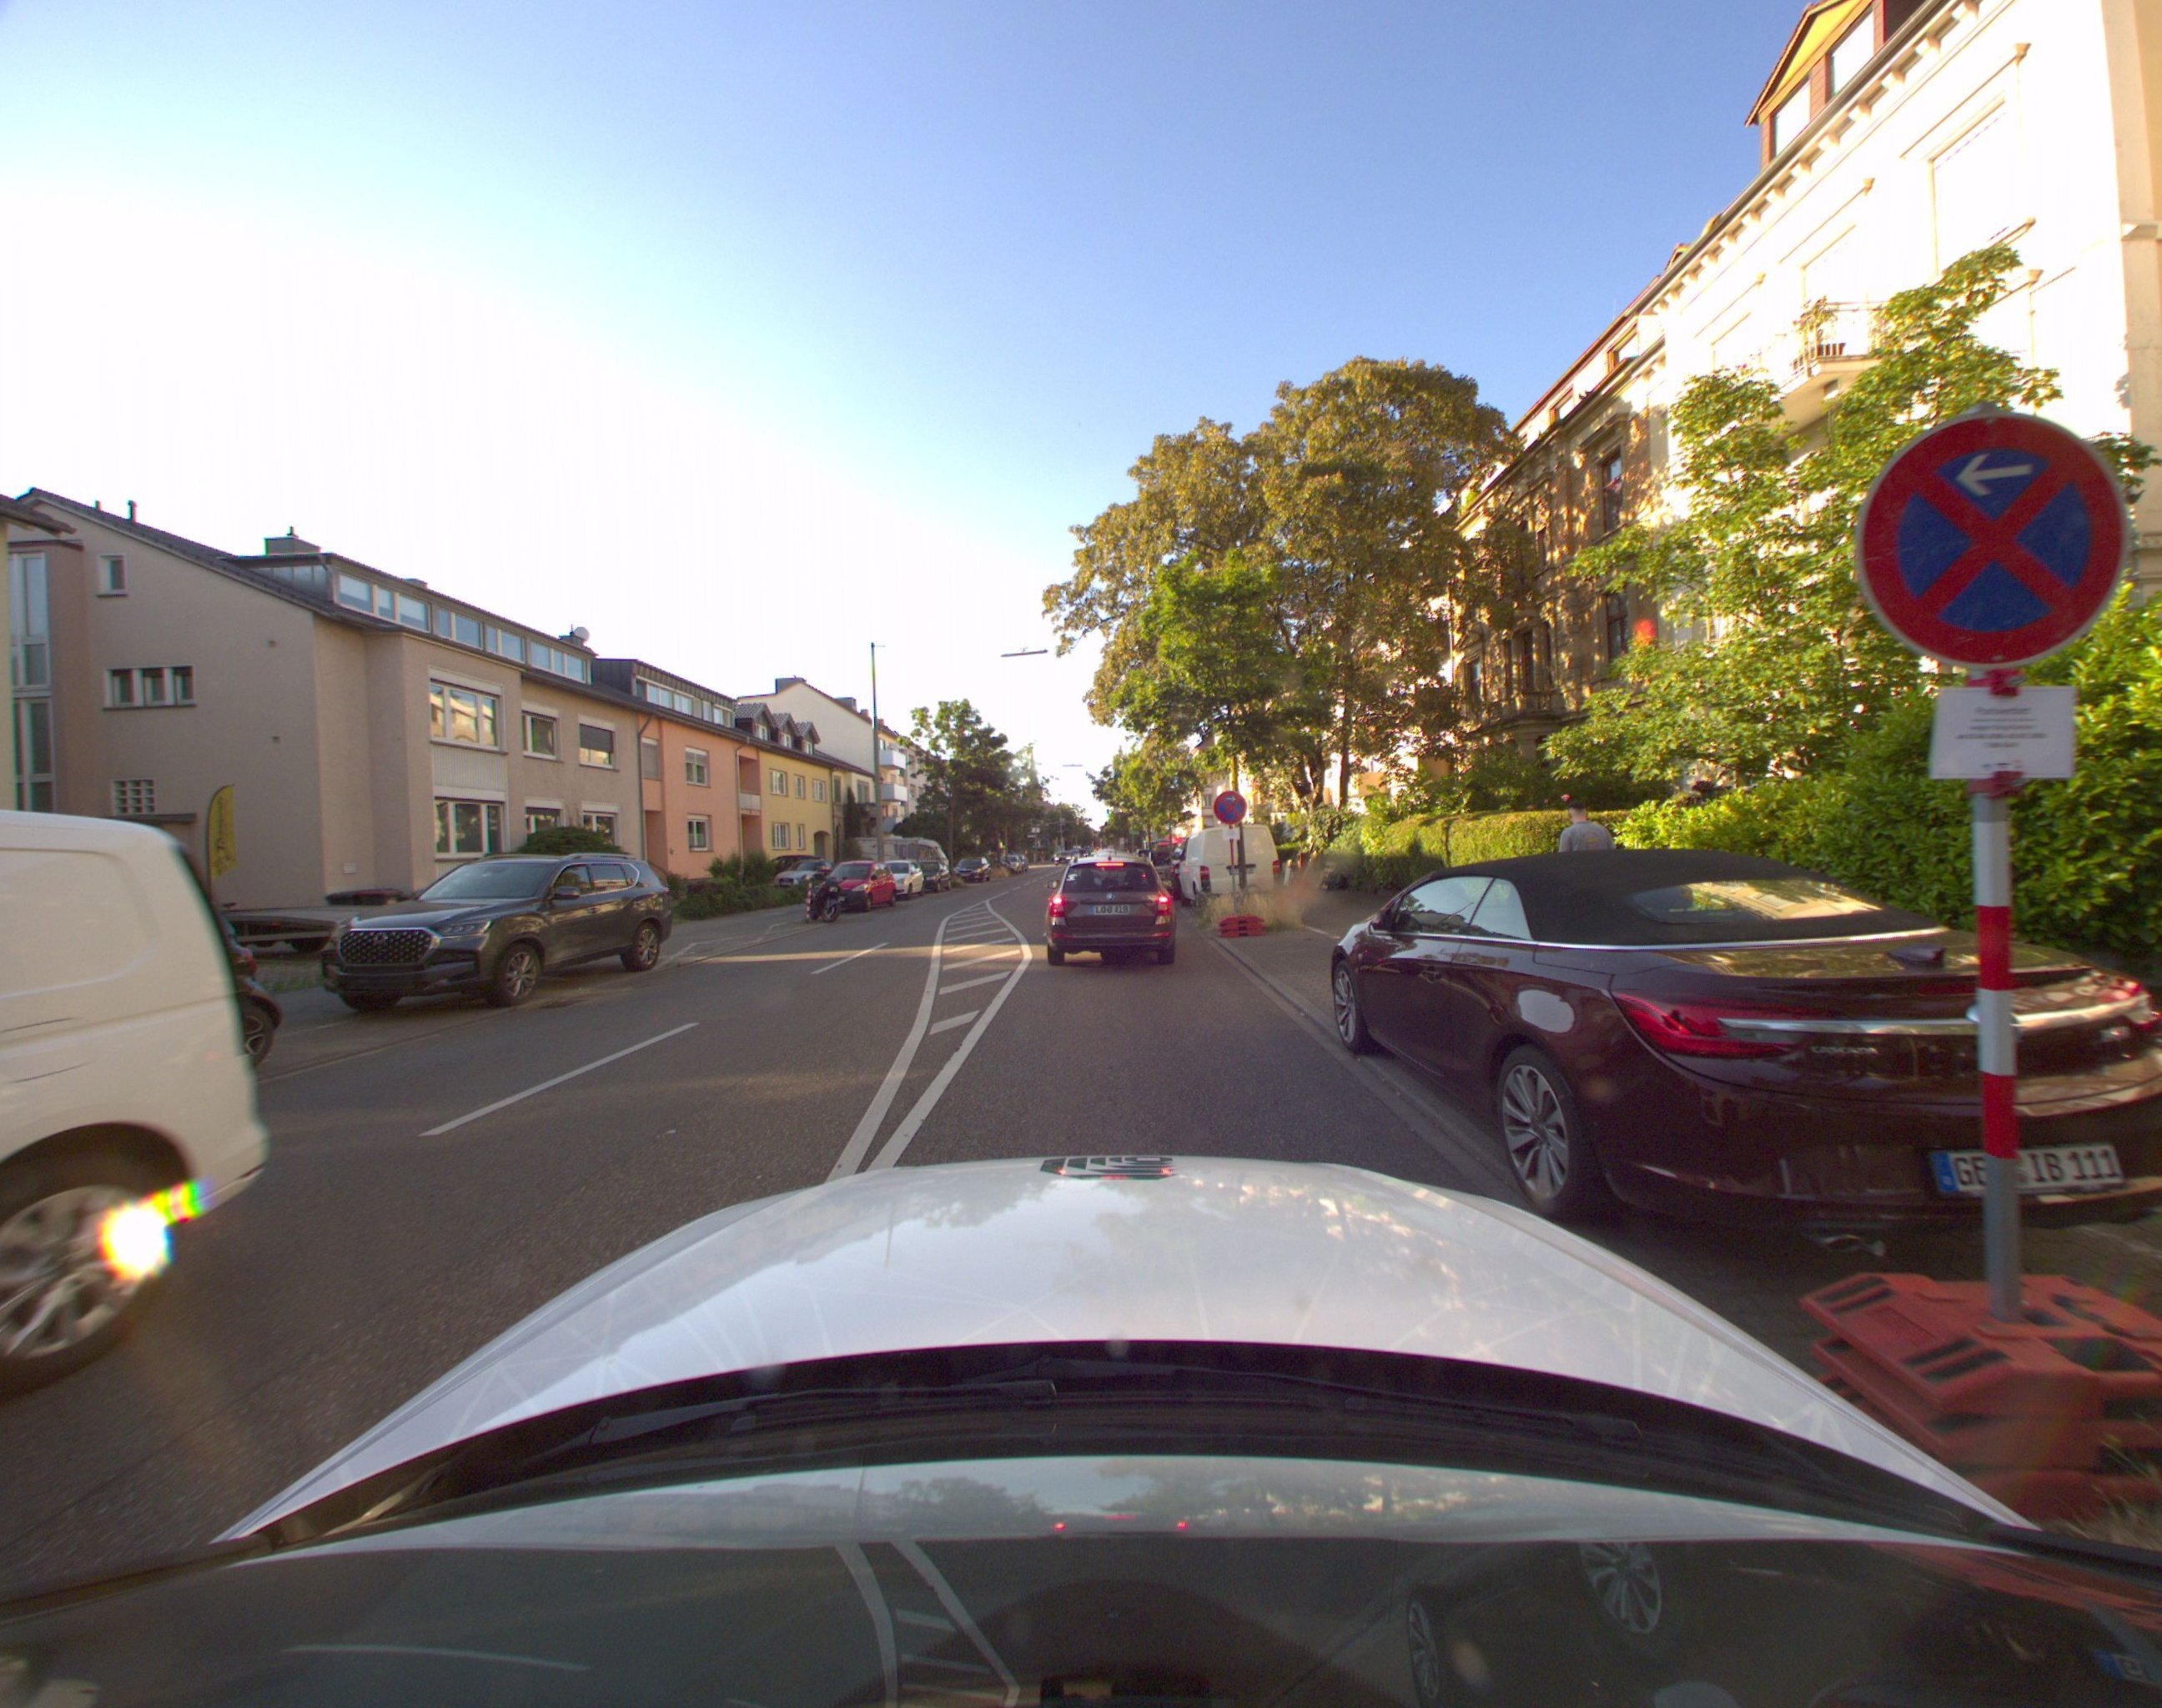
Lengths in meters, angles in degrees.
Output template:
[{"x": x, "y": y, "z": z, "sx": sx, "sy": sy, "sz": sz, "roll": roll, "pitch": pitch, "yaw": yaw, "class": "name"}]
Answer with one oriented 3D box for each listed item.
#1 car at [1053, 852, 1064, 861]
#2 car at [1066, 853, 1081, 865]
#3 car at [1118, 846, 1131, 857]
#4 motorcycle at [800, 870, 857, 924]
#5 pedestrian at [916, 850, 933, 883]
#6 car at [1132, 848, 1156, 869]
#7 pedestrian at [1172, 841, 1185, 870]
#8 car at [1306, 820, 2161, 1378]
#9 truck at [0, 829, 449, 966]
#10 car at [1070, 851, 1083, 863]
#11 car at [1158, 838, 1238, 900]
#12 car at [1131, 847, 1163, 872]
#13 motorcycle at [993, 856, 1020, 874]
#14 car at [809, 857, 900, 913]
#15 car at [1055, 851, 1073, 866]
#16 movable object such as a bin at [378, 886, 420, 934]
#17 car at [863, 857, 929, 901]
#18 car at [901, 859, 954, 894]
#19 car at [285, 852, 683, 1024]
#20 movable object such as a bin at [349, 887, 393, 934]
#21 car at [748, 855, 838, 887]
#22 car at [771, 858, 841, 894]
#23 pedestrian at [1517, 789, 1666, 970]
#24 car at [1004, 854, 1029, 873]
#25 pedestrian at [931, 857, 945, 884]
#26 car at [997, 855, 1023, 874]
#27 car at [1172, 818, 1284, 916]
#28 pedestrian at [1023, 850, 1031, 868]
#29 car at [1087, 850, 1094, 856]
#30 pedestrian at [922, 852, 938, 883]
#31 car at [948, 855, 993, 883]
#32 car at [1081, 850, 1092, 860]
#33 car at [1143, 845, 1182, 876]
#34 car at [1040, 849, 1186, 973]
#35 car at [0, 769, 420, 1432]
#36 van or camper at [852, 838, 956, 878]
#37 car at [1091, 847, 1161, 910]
[{"x": -3.528, "y": 0.379, "z": 127.413, "sx": 1.517, "sy": 1.457, "sz": 3.586, "roll": -2, "pitch": 0, "yaw": 2, "class": "car"}, {"x": -1.051, "y": 0.685, "z": 111.993, "sx": 1.754, "sy": 1.452, "sz": 4.536, "roll": -4, "pitch": 0, "yaw": 2, "class": "car"}, {"x": 7.012, "y": -0.396, "z": 131.454, "sx": 1.984, "sy": 1.772, "sz": 4.005, "roll": 0, "pitch": 0, "yaw": 5, "class": "car"}, {"x": -6.715, "y": 1.104, "z": 21.570, "sx": 1.184, "sy": 1.266, "sz": 2.352, "roll": -3, "pitch": 0, "yaw": -22, "class": "motorcycle"}, {"x": -8.647, "y": 0.696, "z": 44.977, "sx": 0.710, "sy": 1.792, "sz": 0.506, "roll": -2, "pitch": 0, "yaw": 4, "class": "pedestrian"}, {"x": 4.764, "y": 0.341, "z": 62.055, "sx": 1.696, "sy": 1.450, "sz": 4.018, "roll": -4, "pitch": 0, "yaw": 4, "class": "car"}, {"x": 6.197, "y": 0.090, "z": 51.566, "sx": 0.660, "sy": 1.749, "sz": 0.773, "roll": -4, "pitch": 0, "yaw": 3, "class": "pedestrian"}, {"x": 2.760, "y": 0.654, "z": 4.537, "sx": 1.751, "sy": 1.420, "sz": 4.616, "roll": -4, "pitch": 0, "yaw": 1, "class": "car"}, {"x": -16.414, "y": 0.783, "z": 15.549, "sx": 6.869, "sy": 2.185, "sz": 2.277, "roll": -2, "pitch": 0, "yaw": 1, "class": "truck"}, {"x": -0.670, "y": 0.453, "z": 126.124, "sx": 1.799, "sy": 1.804, "sz": 4.747, "roll": -4, "pitch": 0, "yaw": 1, "class": "car"}, {"x": 3.507, "y": 0.423, "z": 25.218, "sx": 1.849, "sy": 1.603, "sz": 4.312, "roll": -5, "pitch": 0, "yaw": 1, "class": "car"}, {"x": 4.507, "y": 0.347, "z": 56.246, "sx": 1.849, "sy": 1.581, "sz": 4.015, "roll": -4, "pitch": 0, "yaw": 1, "class": "car"}, {"x": -5.617, "y": 0.838, "z": 61.328, "sx": 2.028, "sy": 1.265, "sz": 0.772, "roll": -3, "pitch": 0, "yaw": 40, "class": "motorcycle"}, {"x": -6.983, "y": 0.907, "z": 25.389, "sx": 1.586, "sy": 1.523, "sz": 3.440, "roll": -2, "pitch": 0, "yaw": 4, "class": "car"}, {"x": -1.982, "y": 0.490, "z": 94.644, "sx": 1.829, "sy": 1.570, "sz": 4.001, "roll": -4, "pitch": 0, "yaw": 1, "class": "car"}, {"x": -16.441, "y": 1.342, "z": 19.641, "sx": 0.487, "sy": 1.090, "sz": 0.586, "roll": -2, "pitch": 0, "yaw": 2, "class": "movable object such as a bin"}, {"x": -7.092, "y": 0.927, "z": 31.558, "sx": 1.587, "sy": 1.523, "sz": 3.891, "roll": -2, "pitch": 0, "yaw": 1, "class": "car"}, {"x": -6.773, "y": 0.957, "z": 36.324, "sx": 1.537, "sy": 1.396, "sz": 3.667, "roll": -2, "pitch": 0, "yaw": 1, "class": "car"}, {"x": -7.624, "y": 0.905, "z": 11.187, "sx": 1.881, "sy": 1.779, "sz": 4.726, "roll": -2, "pitch": 0, "yaw": 0, "class": "car"}, {"x": -17.086, "y": 1.351, "z": 19.608, "sx": 0.487, "sy": 1.090, "sz": 0.586, "roll": -2, "pitch": 0, "yaw": 2, "class": "movable object such as a bin"}, {"x": -14.939, "y": 0.858, "z": 42.386, "sx": 3.971, "sy": 1.636, "sz": 1.867, "roll": 0, "pitch": 0, "yaw": 2, "class": "car"}, {"x": -12.483, "y": 0.958, "z": 37.156, "sx": 1.658, "sy": 1.409, "sz": 3.756, "roll": -3, "pitch": 0, "yaw": 3, "class": "car"}, {"x": 5.371, "y": 0.252, "z": 8.645, "sx": 0.818, "sy": 1.774, "sz": 1.088, "roll": -2, "pitch": 0, "yaw": -3, "class": "pedestrian"}, {"x": -5.467, "y": 0.763, "z": 69.668, "sx": 1.642, "sy": 1.517, "sz": 4.076, "roll": -1, "pitch": 0, "yaw": 2, "class": "car"}, {"x": -8.392, "y": 0.967, "z": 47.756, "sx": 0.587, "sy": 1.495, "sz": 0.543, "roll": -2, "pitch": 0, "yaw": 4, "class": "pedestrian"}, {"x": -5.622, "y": 0.809, "z": 65.039, "sx": 1.587, "sy": 1.470, "sz": 3.805, "roll": 0, "pitch": 0, "yaw": 2, "class": "car"}, {"x": 3.492, "y": 0.275, "z": 20.269, "sx": 1.897, "sy": 2.103, "sz": 4.640, "roll": -2, "pitch": 0, "yaw": 0, "class": "car"}, {"x": -5.996, "y": 0.589, "z": 90.650, "sx": 0.777, "sy": 1.987, "sz": 0.821, "roll": -3, "pitch": 0, "yaw": 2, "class": "pedestrian"}, {"x": 2.542, "y": -0.304, "z": 221.846, "sx": 1.823, "sy": 1.579, "sz": 4.002, "roll": -3, "pitch": 0, "yaw": 2, "class": "car"}, {"x": -8.963, "y": 0.792, "z": 48.410, "sx": 0.710, "sy": 1.792, "sz": 0.572, "roll": -2, "pitch": 0, "yaw": 4, "class": "pedestrian"}, {"x": -6.480, "y": 0.851, "z": 48.273, "sx": 1.860, "sy": 1.494, "sz": 4.519, "roll": -1, "pitch": 0, "yaw": 2, "class": "car"}, {"x": 1.094, "y": 0.177, "z": 157.668, "sx": 1.986, "sy": 1.908, "sz": 4.965, "roll": -4, "pitch": 0, "yaw": 1, "class": "car"}, {"x": 4.359, "y": 0.310, "z": 44.045, "sx": 1.702, "sy": 1.480, "sz": 4.270, "roll": -4, "pitch": 0, "yaw": 1, "class": "car"}, {"x": 0.443, "y": 0.688, "z": 12.132, "sx": 1.766, "sy": 1.489, "sz": 4.312, "roll": -1, "pitch": 0, "yaw": 1, "class": "car"}, {"x": -3.922, "y": 0.731, "z": 1.357, "sx": 1.882, "sy": 1.803, "sz": 4.431, "roll": -4, "pitch": 0, "yaw": 0, "class": "car"}, {"x": -12.419, "y": 0.249, "z": 57.564, "sx": 6.774, "sy": 2.772, "sz": 2.352, "roll": 0, "pitch": 0, "yaw": 0, "class": "van or camper"}, {"x": 1.174, "y": 0.596, "z": 22.232, "sx": 1.730, "sy": 1.571, "sz": 4.002, "roll": 0, "pitch": 0, "yaw": 2, "class": "car"}]
